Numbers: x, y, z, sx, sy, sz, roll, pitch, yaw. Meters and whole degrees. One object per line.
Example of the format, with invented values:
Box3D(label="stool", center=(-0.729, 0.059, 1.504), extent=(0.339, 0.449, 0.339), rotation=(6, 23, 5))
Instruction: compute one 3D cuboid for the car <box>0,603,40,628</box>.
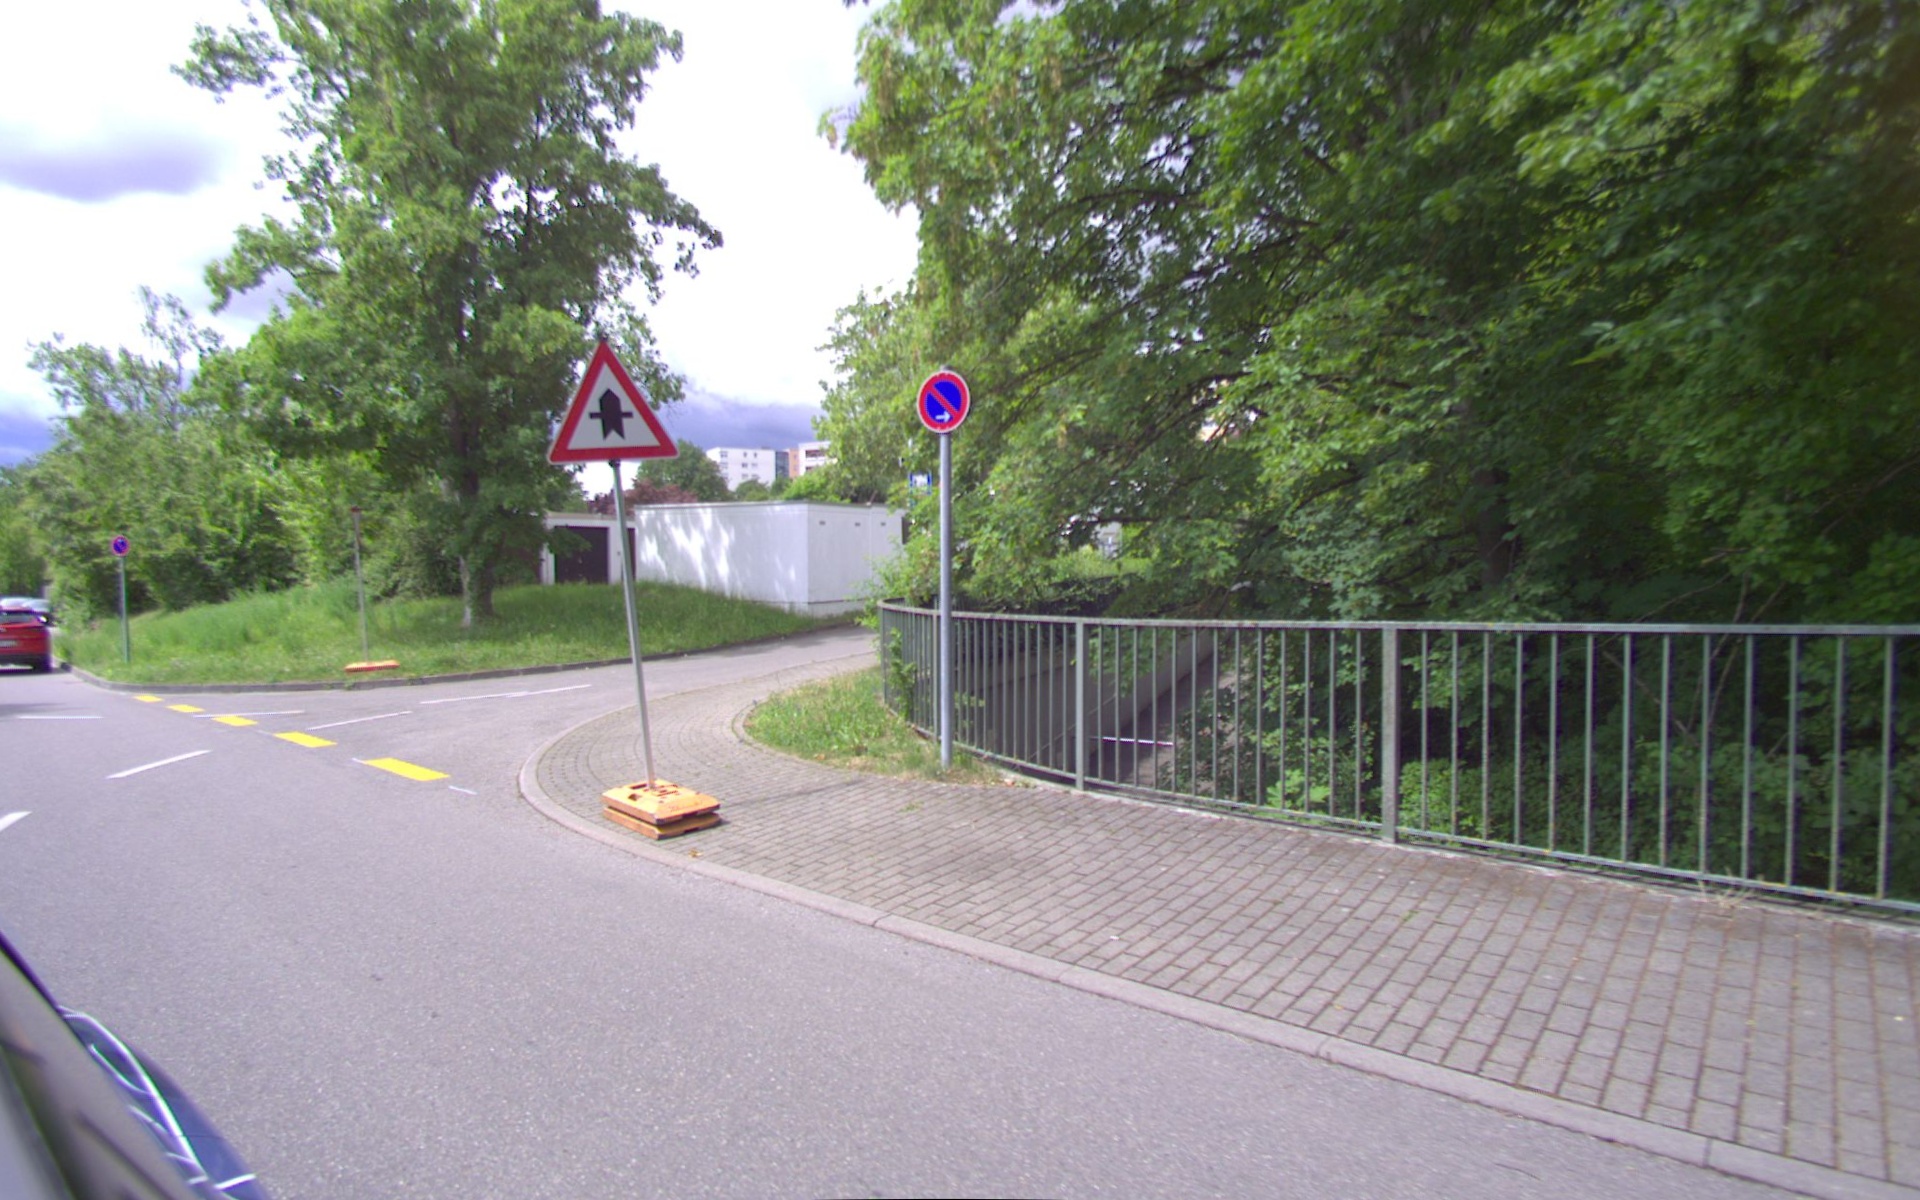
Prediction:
Box3D(label="car", center=(-63.659, 1.027, 67.899), extent=(1.837, 1.488, 4.917), rotation=(1, 0, -30))

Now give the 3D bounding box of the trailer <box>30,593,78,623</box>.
Box3D(label="trailer", center=(-67.706, 0.556, 75.652), extent=(1.705, 2.094, 3.796), rotation=(1, 1, -26))

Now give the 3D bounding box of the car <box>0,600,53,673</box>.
Box3D(label="car", center=(-23.761, 0.883, 24.958), extent=(4.223, 1.671, 1.822), rotation=(-1, 0, 45))

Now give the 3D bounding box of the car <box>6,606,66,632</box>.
Box3D(label="car", center=(-56.837, 1.164, 62.354), extent=(1.766, 1.520, 4.126), rotation=(3, -2, -29))
